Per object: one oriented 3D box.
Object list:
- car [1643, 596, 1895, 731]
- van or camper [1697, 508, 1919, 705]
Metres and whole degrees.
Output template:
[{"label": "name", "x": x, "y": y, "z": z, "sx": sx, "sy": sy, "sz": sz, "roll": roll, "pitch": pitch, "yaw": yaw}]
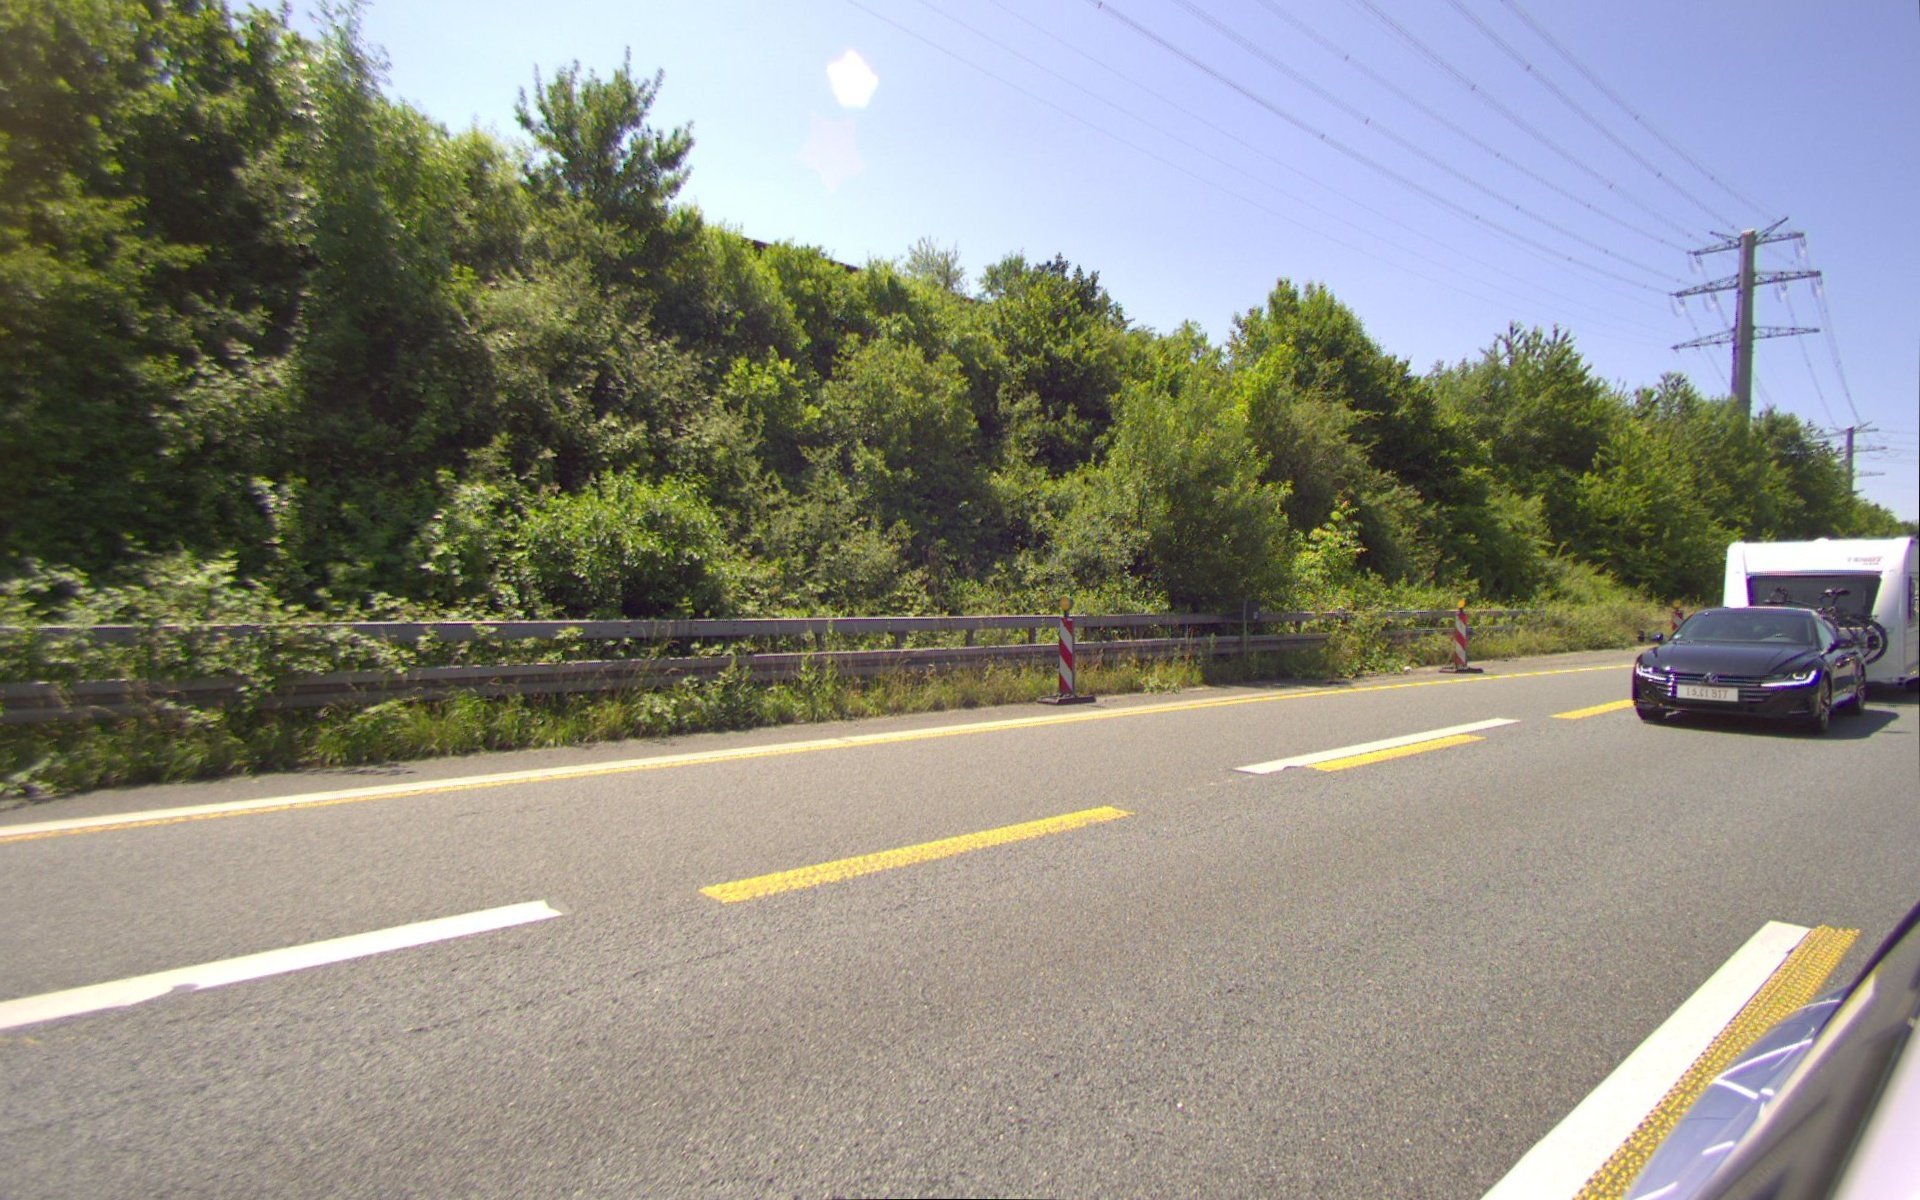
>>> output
[{"label": "car", "x": 10.301, "y": 0.665, "z": 12.781, "sx": 4.136, "sy": 1.425, "sz": 1.799, "roll": 0, "pitch": 0, "yaw": -41}, {"label": "van or camper", "x": 14.948, "y": 0.071, "z": 16.981, "sx": 8.270, "sy": 2.597, "sz": 2.430, "roll": 0, "pitch": 0, "yaw": -41}]
